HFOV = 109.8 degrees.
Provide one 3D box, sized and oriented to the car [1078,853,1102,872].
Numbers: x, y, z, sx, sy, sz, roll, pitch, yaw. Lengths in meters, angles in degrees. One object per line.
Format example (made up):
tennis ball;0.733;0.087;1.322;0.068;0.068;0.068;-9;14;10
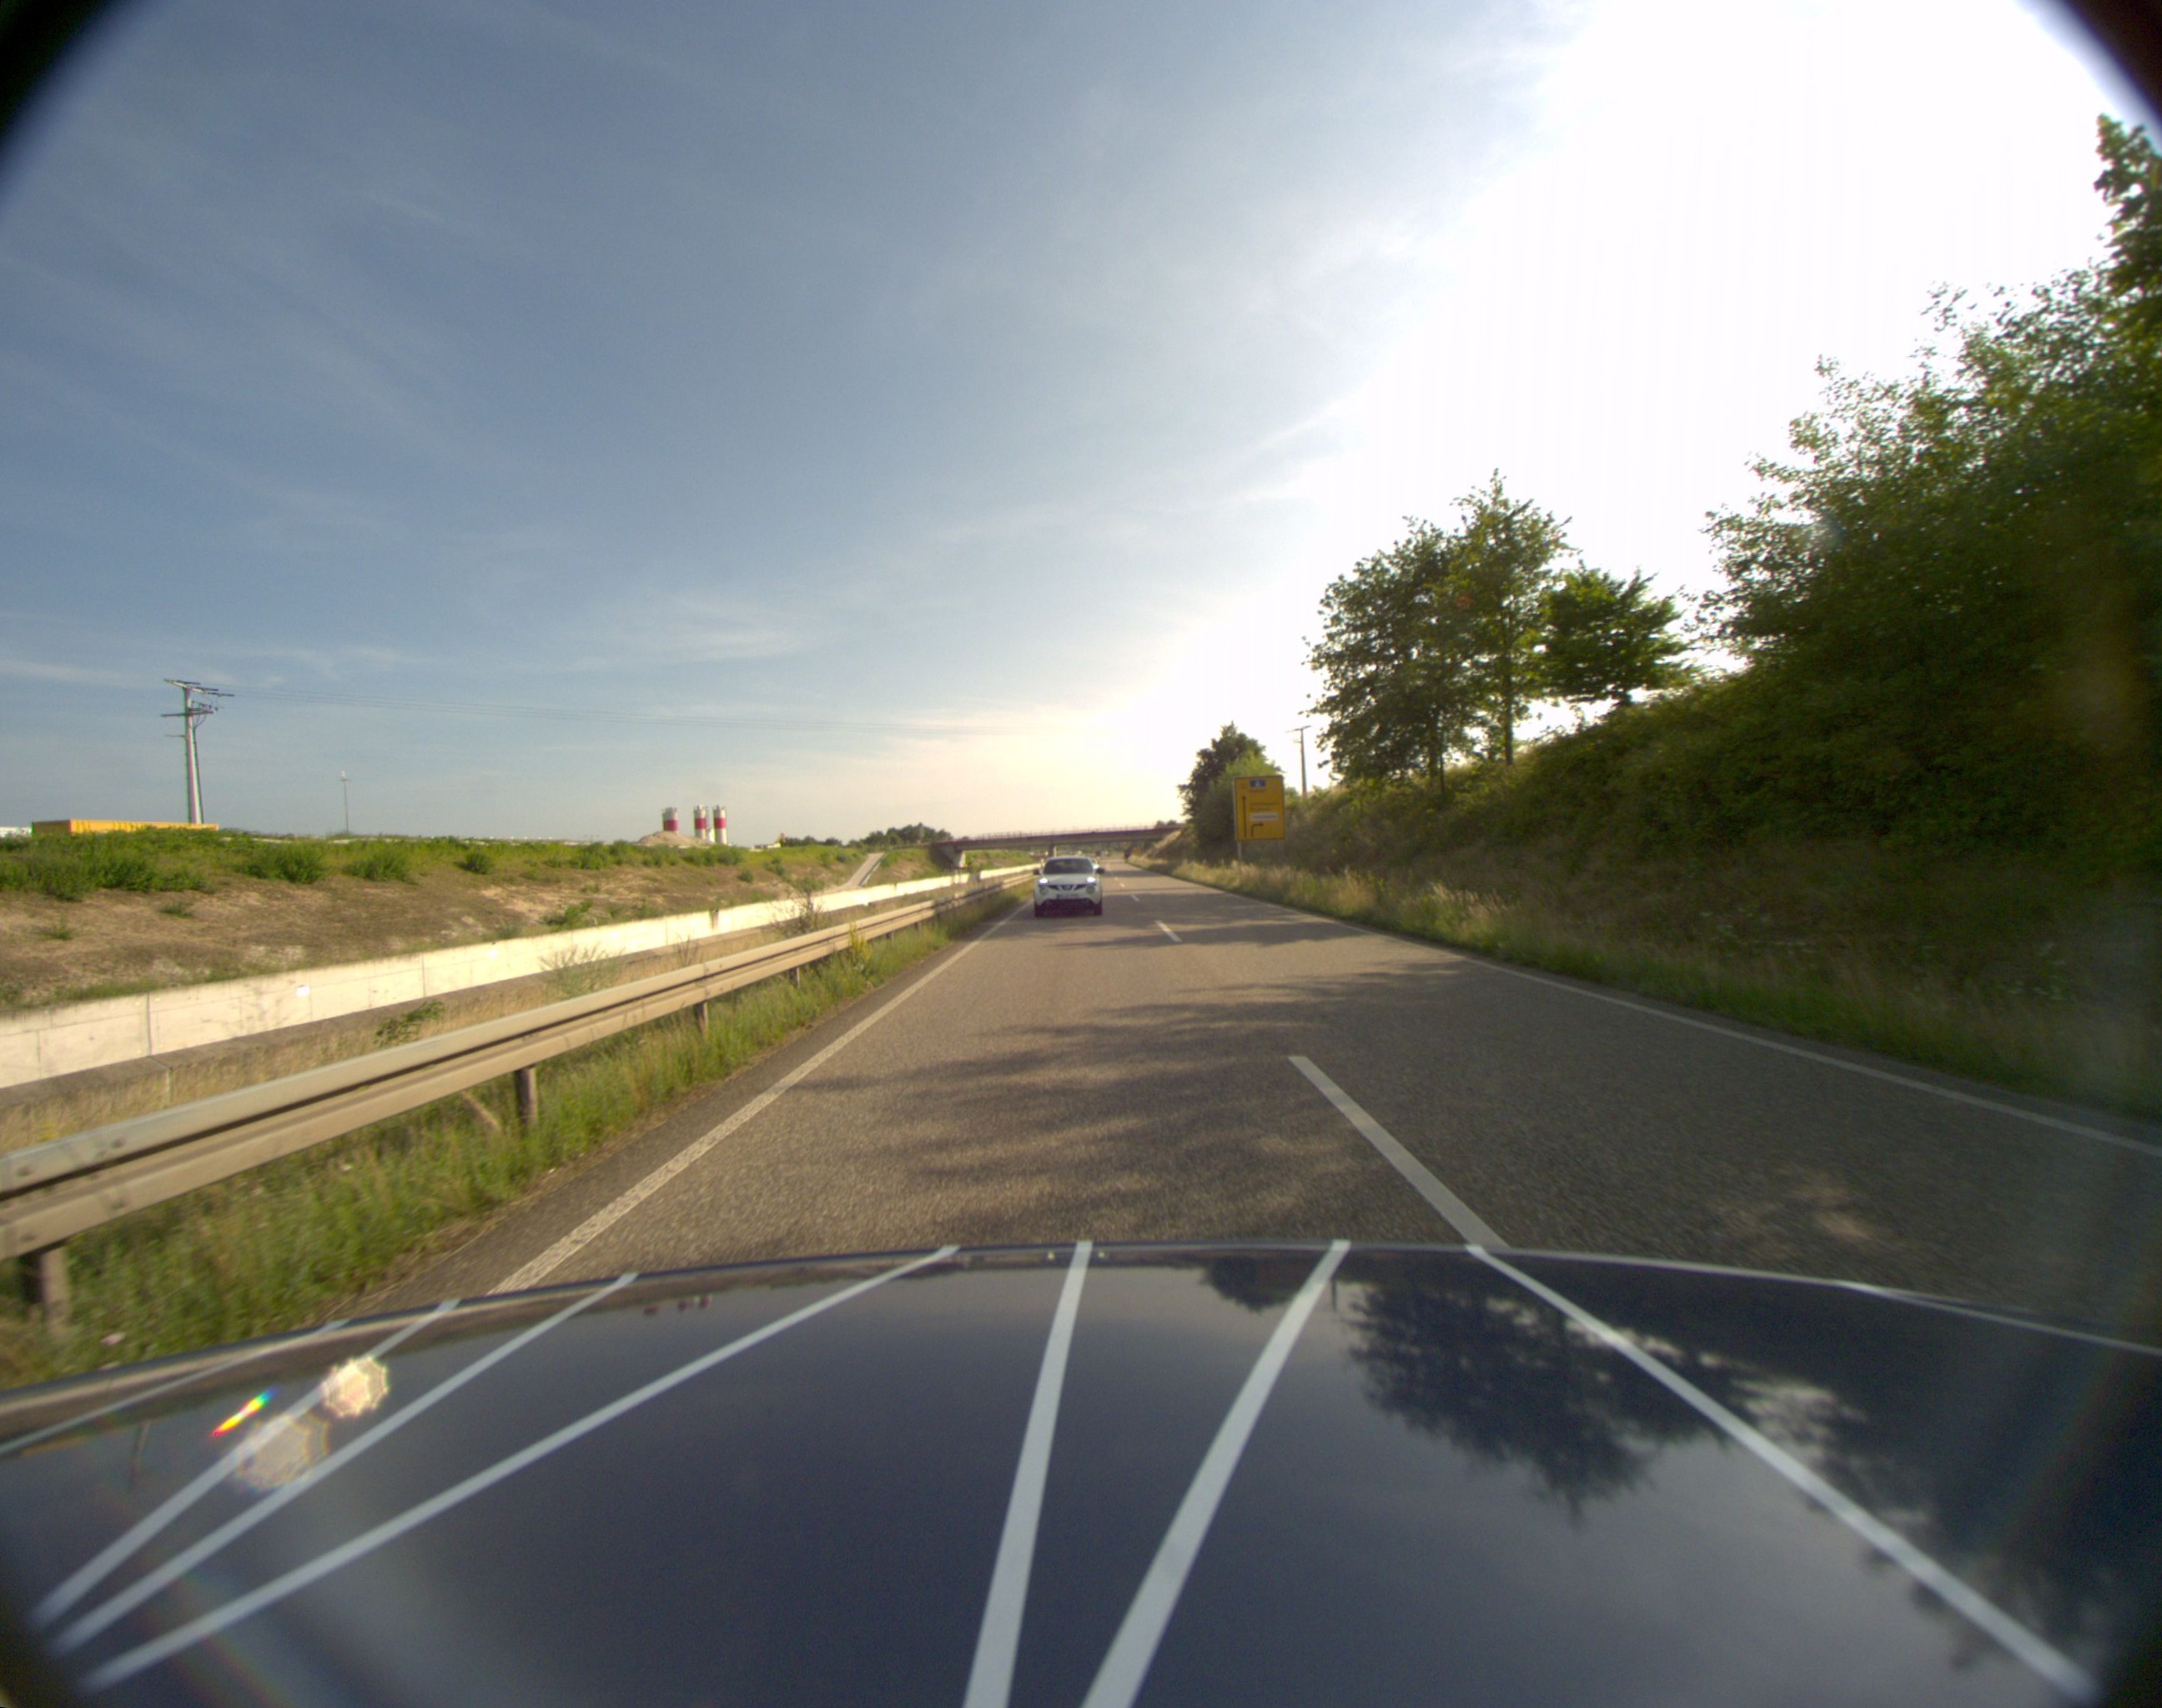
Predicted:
car;0.792;0.685;64.144;1.908;1.512;4.465;-2;0;1

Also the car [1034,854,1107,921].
car;-0.306;0.849;21.340;1.789;1.593;4.571;-2;1;-1
